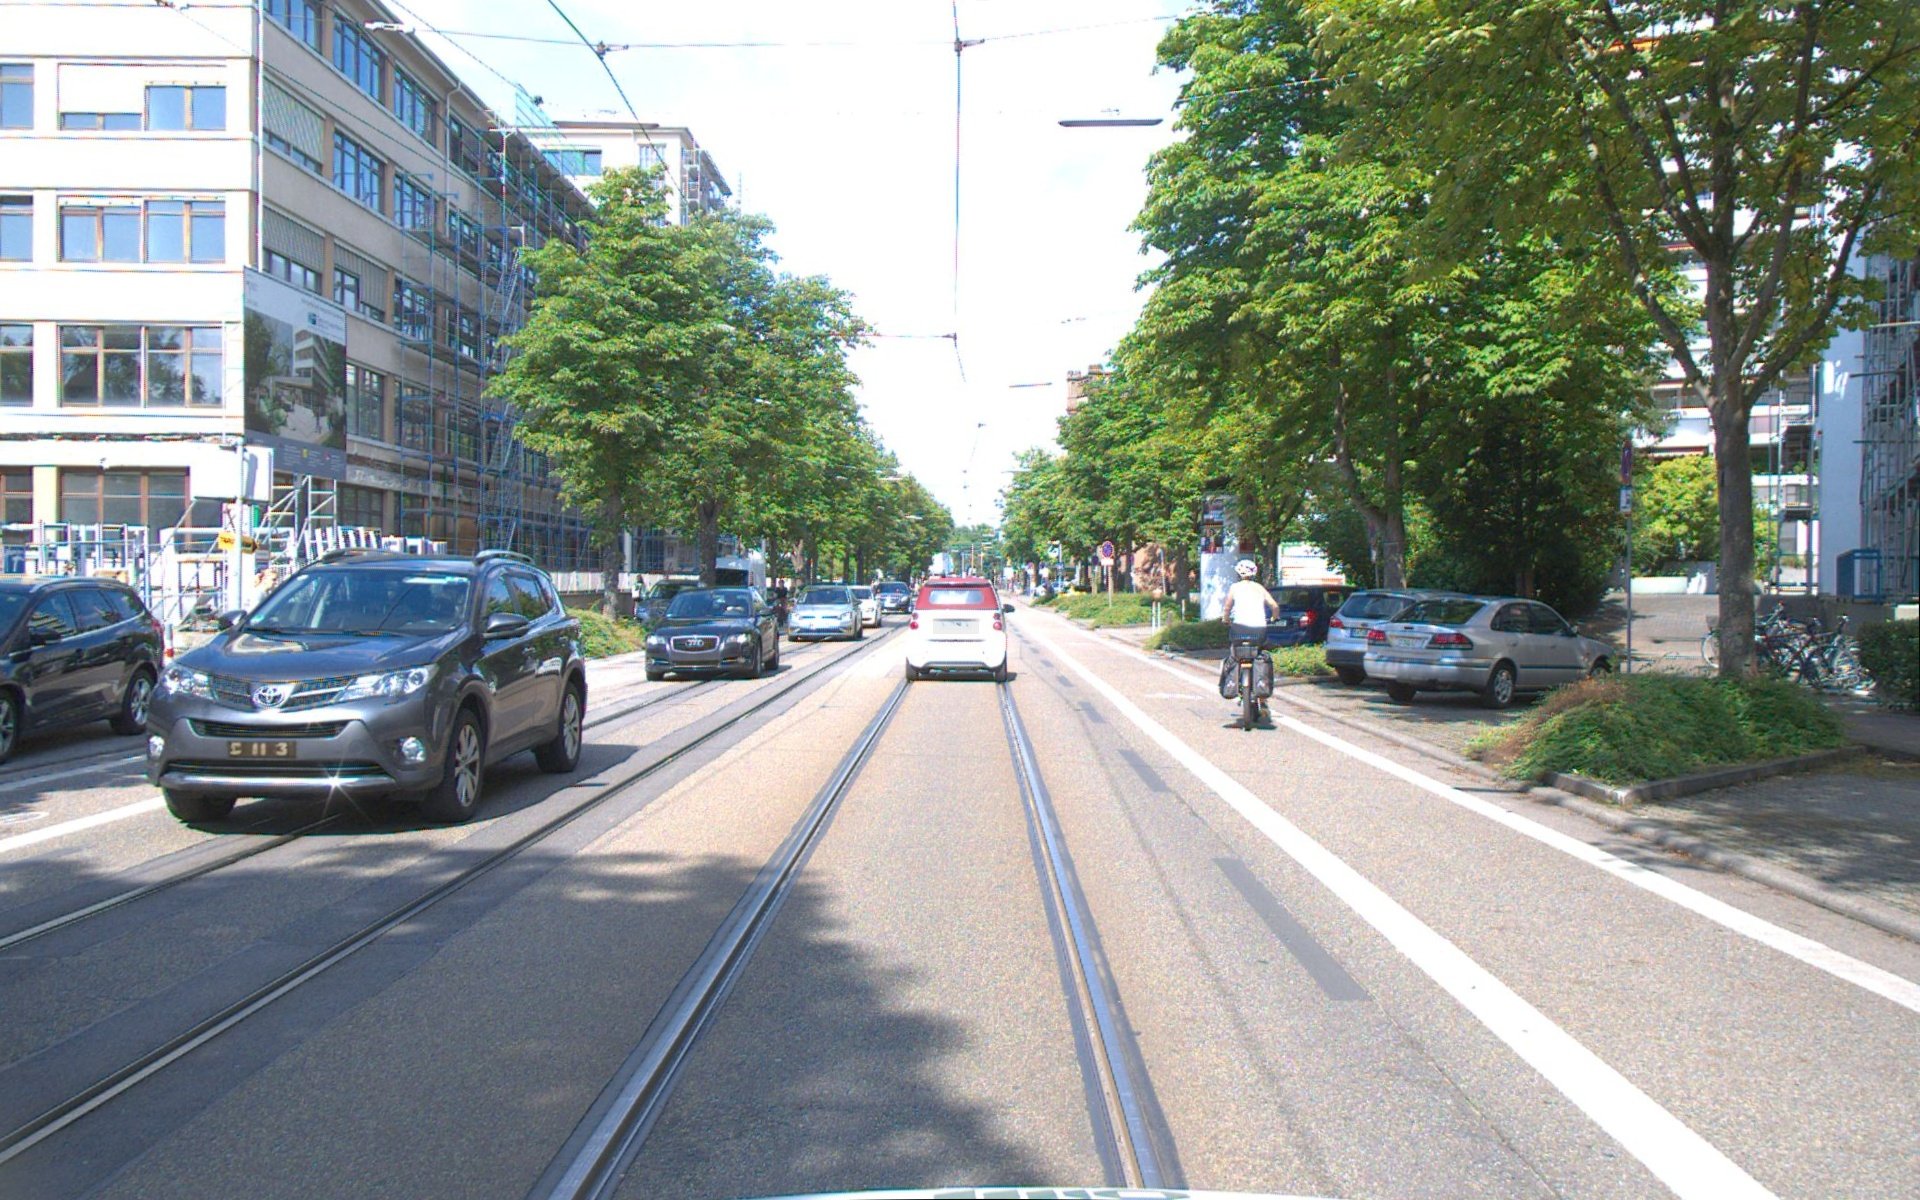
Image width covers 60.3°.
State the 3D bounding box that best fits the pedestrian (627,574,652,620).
[{"bbox_3d":[-11.598,-0.119,59.903,0.749,1.648,0.594,2,0,0],"label":"pedestrian"}]

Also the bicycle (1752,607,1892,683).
[{"bbox_3d":[13.089,0.679,25.142,1.861,1.115,0.450,-1,1,32],"label":"bicycle"}]

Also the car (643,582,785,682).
[{"bbox_3d":[-3.850,0.463,26.471,1.688,1.400,3.999,-2,0,-1],"label":"car"}]

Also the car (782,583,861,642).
[{"bbox_3d":[-3.614,0.306,43.738,1.737,1.441,3.852,-2,0,-1],"label":"car"}]

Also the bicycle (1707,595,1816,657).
[{"bbox_3d":[14.968,0.476,30.915,1.793,1.115,0.450,1,1,32],"label":"bicycle"}]

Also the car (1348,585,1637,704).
[{"bbox_3d":[7.315,0.536,22.565,4.199,1.444,1.700,0,2,-38],"label":"car"}]

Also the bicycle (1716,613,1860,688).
[{"bbox_3d":[12.258,0.741,24.508,1.861,1.071,0.450,-1,1,32],"label":"bicycle"}]

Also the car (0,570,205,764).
[{"bbox_3d":[-8.584,0.505,14.782,1.714,1.543,4.590,2,0,-3],"label":"car"}]

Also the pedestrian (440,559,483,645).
[{"bbox_3d":[-11.102,0.036,36.850,0.693,1.863,0.661,3,2,-5],"label":"pedestrian"}]

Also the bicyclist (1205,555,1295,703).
[{"bbox_3d":[3.163,0.307,18.122,0.871,1.555,1.086,2,0,6],"label":"bicyclist"}]

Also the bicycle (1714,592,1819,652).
[{"bbox_3d":[15.564,0.417,31.946,1.793,1.115,0.450,0,1,32],"label":"bicycle"}]

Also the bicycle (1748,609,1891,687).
[{"bbox_3d":[12.835,0.705,24.712,1.861,1.115,0.450,-1,1,32],"label":"bicycle"}]

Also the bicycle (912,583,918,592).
[{"bbox_3d":[-5.186,-1.473,189.517,0.606,0.990,1.716,0,1,-3],"label":"bicycle"}]

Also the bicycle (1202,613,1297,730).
[{"bbox_3d":[3.126,0.742,18.046,0.856,1.145,2.137,2,0,6],"label":"bicycle"}]

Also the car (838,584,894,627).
[{"bbox_3d":[-3.177,0.173,56.449,1.652,1.430,4.226,0,0,0],"label":"car"}]

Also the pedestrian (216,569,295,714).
[{"bbox_3d":[-8.300,0.475,19.484,0.718,1.665,0.684,2,0,-34],"label":"pedestrian"}]

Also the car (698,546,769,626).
[{"bbox_3d":[-8.087,-0.482,59.498,1.733,2.685,5.322,2,0,0],"label":"car"}]

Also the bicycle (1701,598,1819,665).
[{"bbox_3d":[13.931,0.545,28.825,1.793,1.114,0.450,-1,3,32],"label":"bicycle"}]

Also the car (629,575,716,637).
[{"bbox_3d":[-8.430,0.153,48.825,1.767,1.691,4.103,2,0,0],"label":"car"}]

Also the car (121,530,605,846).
[{"bbox_3d":[-3.799,0.462,11.422,1.788,1.757,4.391,0,1,-1],"label":"car"}]

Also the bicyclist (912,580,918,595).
[{"bbox_3d":[-5.192,-1.425,189.428,0.645,1.607,0.946,0,1,-1],"label":"bicyclist"}]

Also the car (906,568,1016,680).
[{"bbox_3d":[-0.007,0.358,26.325,1.631,1.653,3.620,0,0,-1],"label":"car"}]

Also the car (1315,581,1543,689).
[{"bbox_3d":[7.321,0.509,25.676,3.772,1.500,1.628,1,2,-42],"label":"car"}]

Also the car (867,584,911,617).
[{"bbox_3d":[-3.394,0.018,80.097,1.763,1.534,4.537,1,0,2],"label":"car"}]

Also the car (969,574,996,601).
[{"bbox_3d":[1.422,-0.793,104.119,1.631,1.653,3.621,1,1,0],"label":"car"}]

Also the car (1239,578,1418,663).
[{"bbox_3d":[7.270,0.359,32.390,1.589,1.512,3.973,-1,1,44],"label":"car"}]

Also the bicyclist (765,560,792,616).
[{"bbox_3d":[-6.678,-0.433,60.936,0.859,2.049,0.833,-2,-1,-1],"label":"bicyclist"}]

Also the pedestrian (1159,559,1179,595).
[{"bbox_3d":[12.127,-1.308,96.083,0.957,2.049,1.093,2,0,-1],"label":"pedestrian"}]

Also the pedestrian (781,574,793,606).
[{"bbox_3d":[-11.191,-0.667,107.017,0.788,2.049,0.484,0,0,-9],"label":"pedestrian"}]
